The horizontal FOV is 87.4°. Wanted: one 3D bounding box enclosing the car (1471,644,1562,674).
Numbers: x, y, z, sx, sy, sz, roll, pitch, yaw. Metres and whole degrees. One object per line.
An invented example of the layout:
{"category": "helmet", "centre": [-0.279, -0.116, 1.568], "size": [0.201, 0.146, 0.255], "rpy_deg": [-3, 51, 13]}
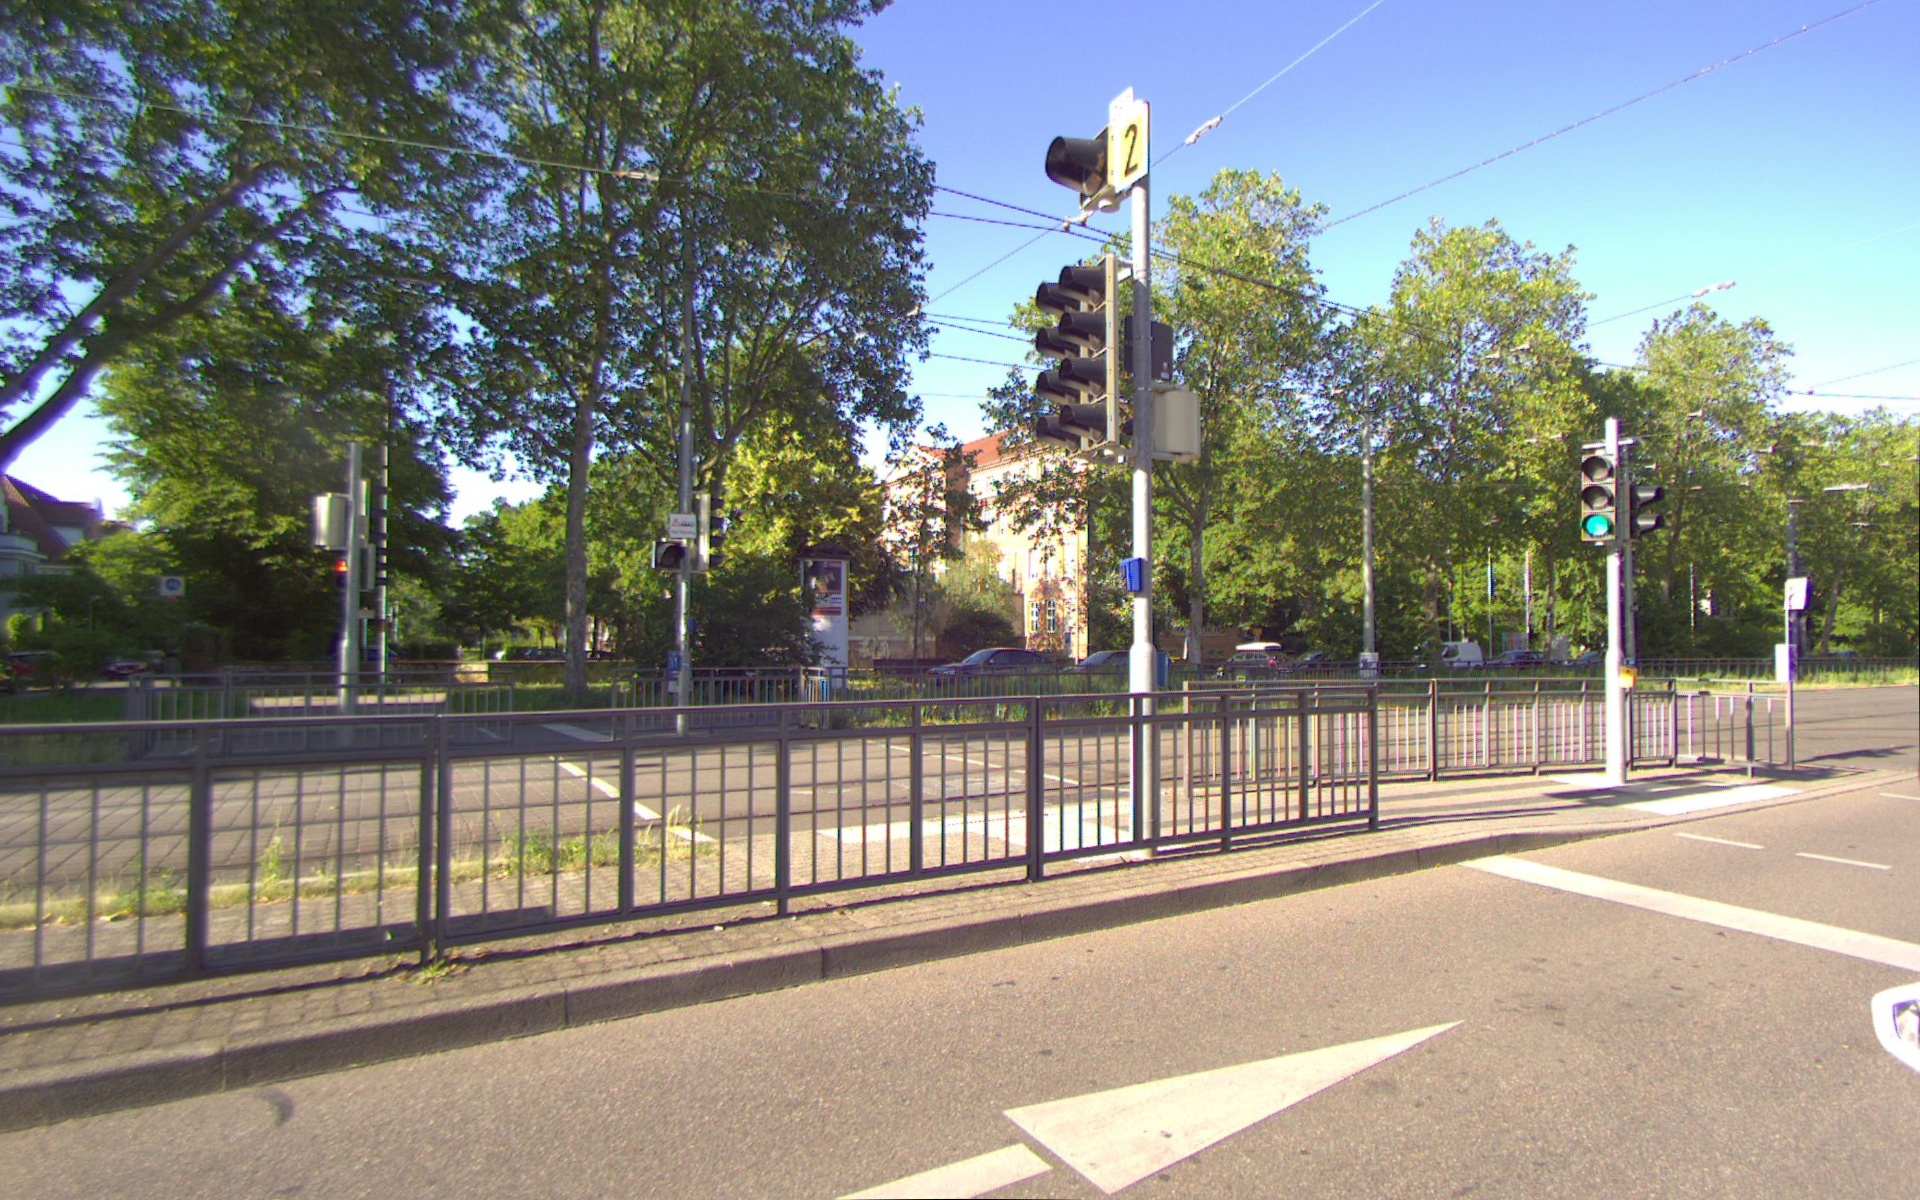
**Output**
{"category": "car", "centre": [27.740, 2.927, 50.014], "size": [4.796, 1.366, 1.926], "rpy_deg": [3, -3, -32]}

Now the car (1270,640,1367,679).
{"category": "car", "centre": [15.045, 2.464, 42.073], "size": [4.099, 1.529, 1.660], "rpy_deg": [2, -3, -32]}

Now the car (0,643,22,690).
{"category": "car", "centre": [-31.107, 2.085, 31.189], "size": [1.976, 1.437, 3.969], "rpy_deg": [1, -2, -29]}

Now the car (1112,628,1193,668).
{"category": "car", "centre": [10.388, 2.570, 54.155], "size": [3.954, 2.040, 1.984], "rpy_deg": [2, -2, -31]}

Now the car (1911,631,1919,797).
{"category": "car", "centre": [10.585, 1.050, 9.388], "size": [3.848, 1.486, 1.600], "rpy_deg": [2, -2, -33]}

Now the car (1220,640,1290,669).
{"category": "car", "centre": [16.087, 2.941, 54.970], "size": [1.375, 1.514, 3.974], "rpy_deg": [1, -2, -26]}

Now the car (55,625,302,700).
{"category": "car", "centre": [-17.078, 1.353, 22.243], "size": [4.099, 1.529, 1.660], "rpy_deg": [2, -2, -32]}

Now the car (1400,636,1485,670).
{"category": "car", "centre": [22.574, 2.455, 46.981], "size": [4.099, 1.529, 1.660], "rpy_deg": [2, -2, -32]}

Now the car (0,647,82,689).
{"category": "car", "centre": [-35.228, 2.539, 38.191], "size": [1.976, 1.437, 3.969], "rpy_deg": [1, -2, -29]}

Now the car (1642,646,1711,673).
{"category": "car", "centre": [42.788, 3.561, 59.967], "size": [4.232, 1.529, 1.926], "rpy_deg": [3, -3, -32]}

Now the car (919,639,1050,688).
{"category": "car", "centre": [0.836, 2.058, 33.149], "size": [4.099, 1.529, 1.660], "rpy_deg": [2, -2, -32]}
